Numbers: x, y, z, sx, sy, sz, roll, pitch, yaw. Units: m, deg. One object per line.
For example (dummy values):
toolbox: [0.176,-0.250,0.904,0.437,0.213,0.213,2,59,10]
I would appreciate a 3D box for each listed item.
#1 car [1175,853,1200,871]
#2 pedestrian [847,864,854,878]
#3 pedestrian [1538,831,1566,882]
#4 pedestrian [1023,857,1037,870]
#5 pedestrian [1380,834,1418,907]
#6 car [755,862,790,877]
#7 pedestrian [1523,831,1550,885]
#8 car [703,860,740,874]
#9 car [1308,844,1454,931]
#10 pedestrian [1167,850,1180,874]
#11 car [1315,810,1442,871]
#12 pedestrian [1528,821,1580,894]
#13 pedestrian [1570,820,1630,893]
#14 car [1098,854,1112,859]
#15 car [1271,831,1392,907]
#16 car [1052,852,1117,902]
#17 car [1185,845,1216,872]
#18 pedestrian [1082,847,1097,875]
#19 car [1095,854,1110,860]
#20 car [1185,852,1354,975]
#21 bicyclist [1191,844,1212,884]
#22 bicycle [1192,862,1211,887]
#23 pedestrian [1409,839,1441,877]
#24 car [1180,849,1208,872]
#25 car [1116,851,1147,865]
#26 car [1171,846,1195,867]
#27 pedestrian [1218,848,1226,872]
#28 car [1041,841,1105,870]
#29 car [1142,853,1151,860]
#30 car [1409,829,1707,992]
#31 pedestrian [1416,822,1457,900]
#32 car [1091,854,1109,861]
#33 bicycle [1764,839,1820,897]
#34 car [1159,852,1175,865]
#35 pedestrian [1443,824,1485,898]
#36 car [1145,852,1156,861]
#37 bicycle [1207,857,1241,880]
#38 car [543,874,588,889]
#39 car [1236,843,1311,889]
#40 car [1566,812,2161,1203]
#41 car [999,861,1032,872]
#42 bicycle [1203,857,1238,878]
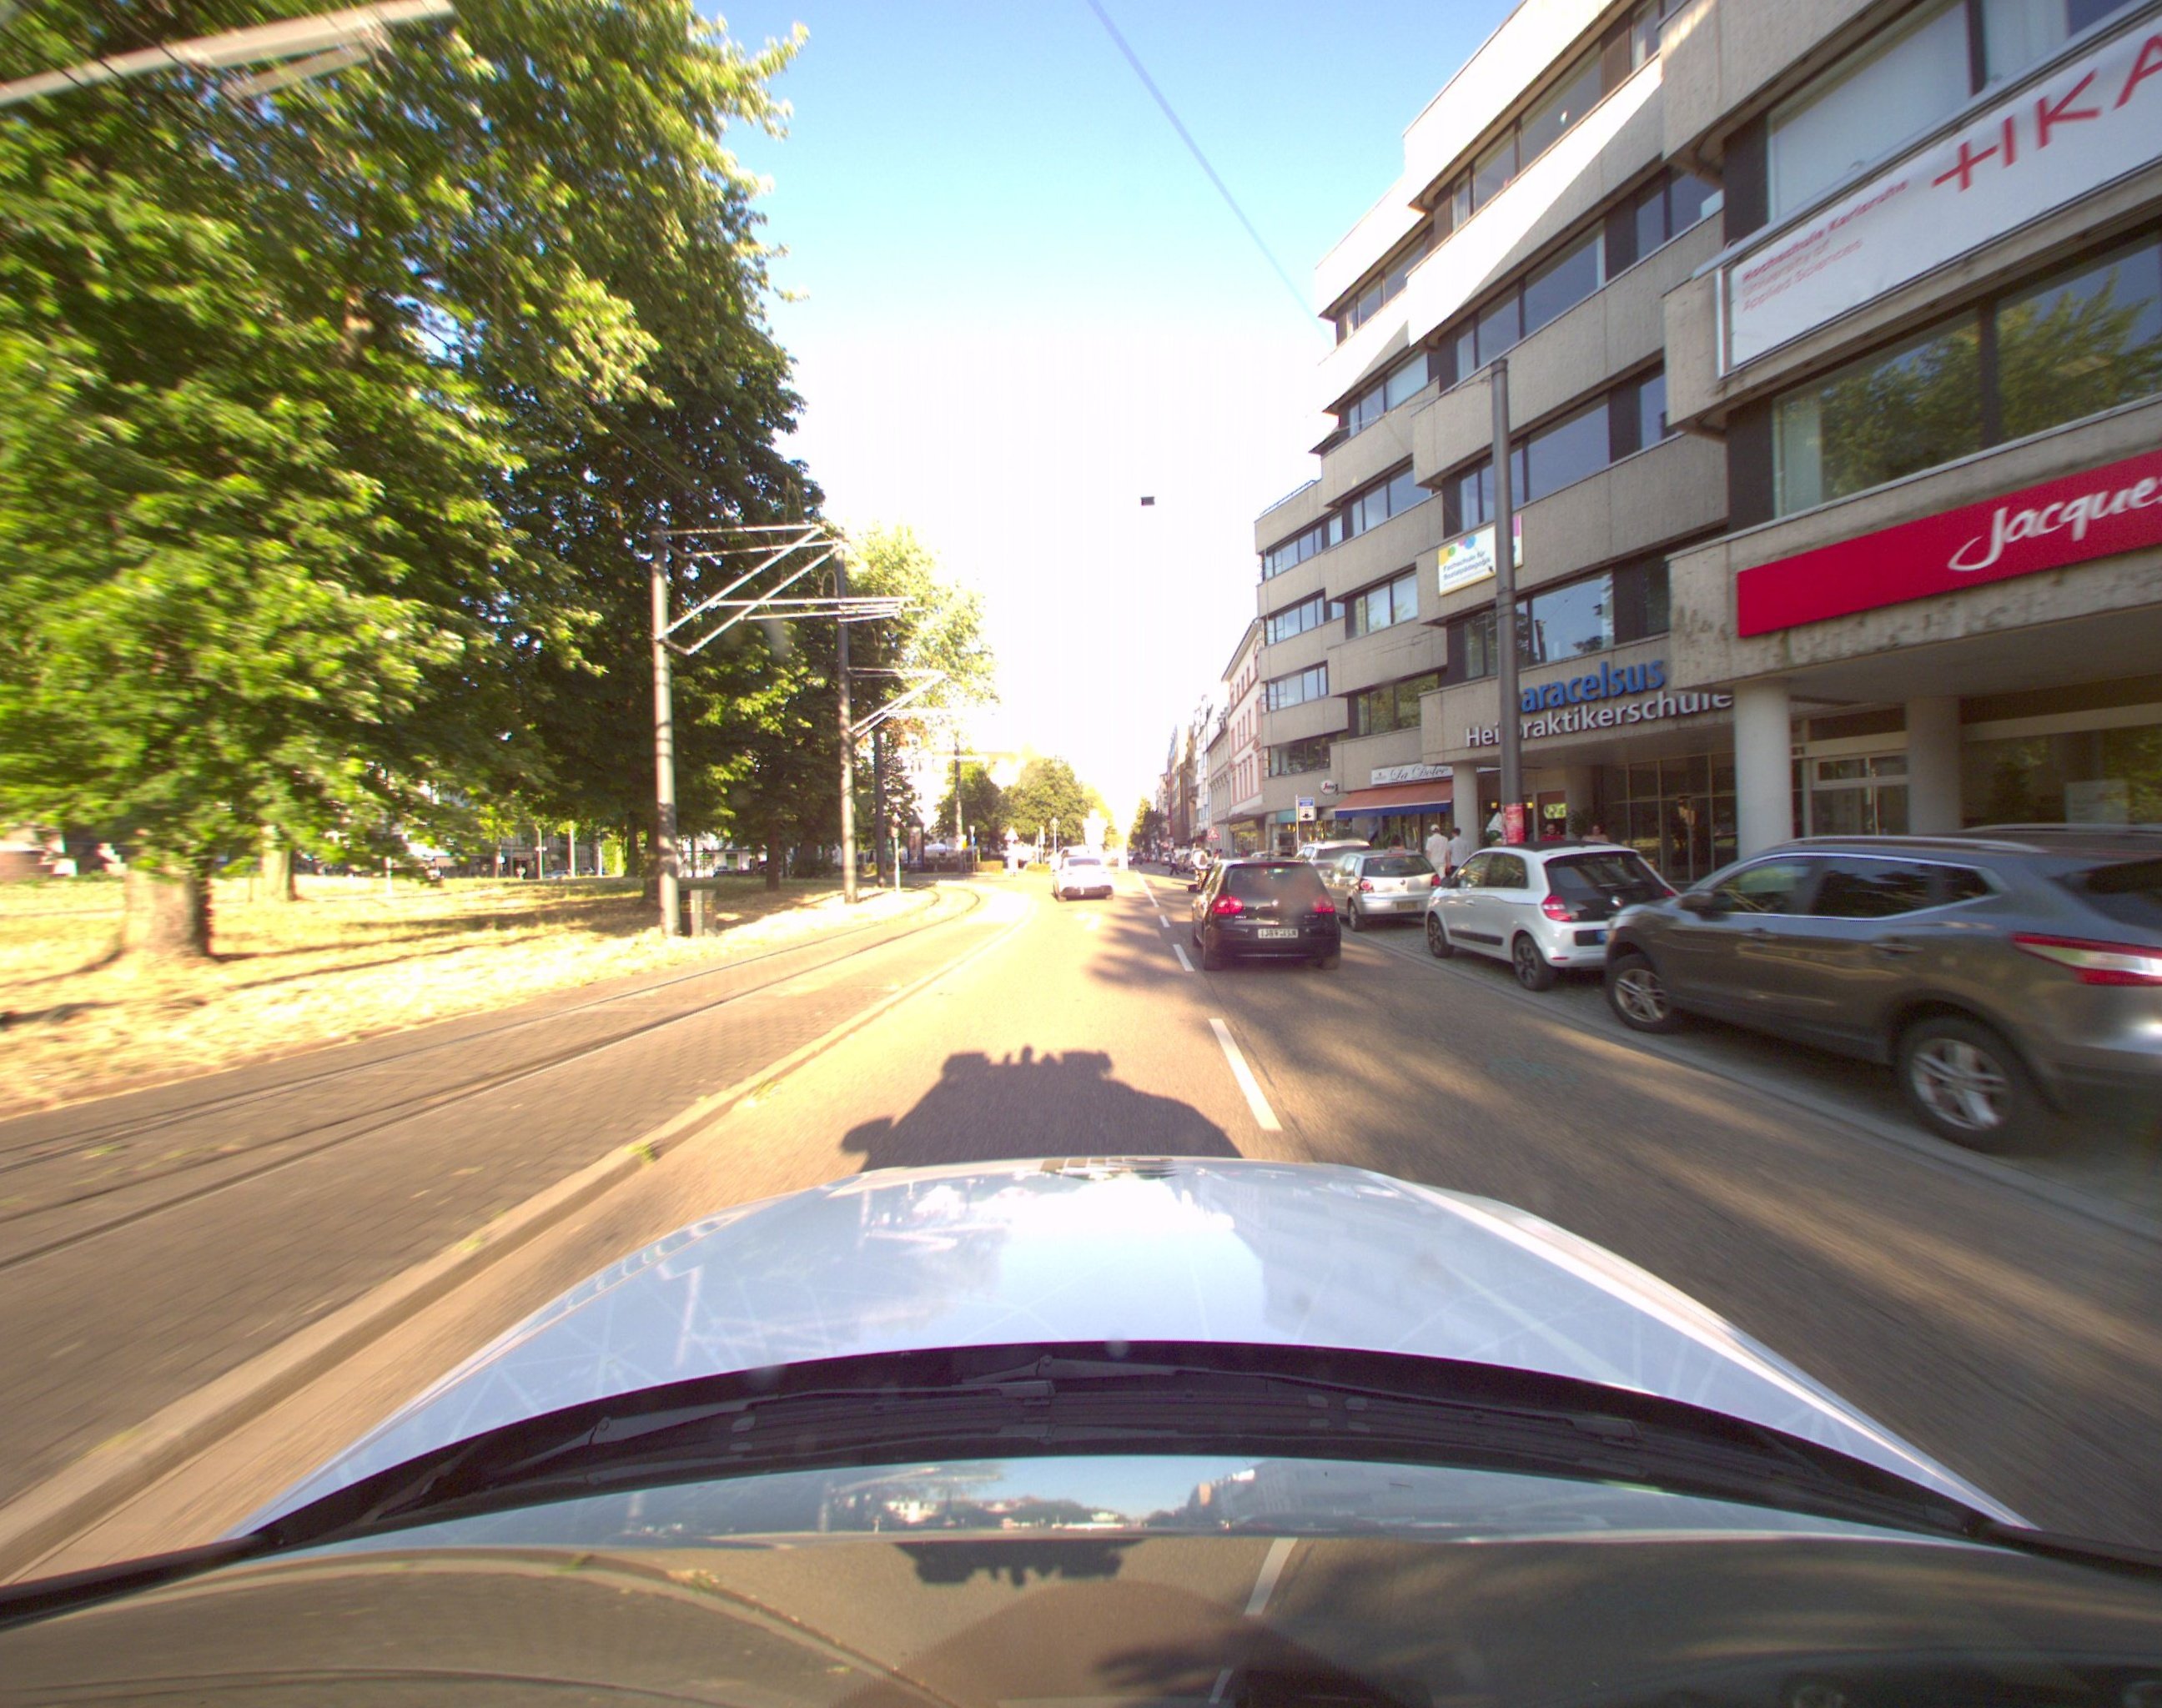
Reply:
car: [9.033,0.668,69.278,1.727,1.462,3.588,-3,0,3]
pedestrian: [-24.748,1.783,87.377,0.533,1.497,0.659,-1,0,-4]
pedestrian: [15.417,0.062,26.663,0.599,1.649,0.518,0,0,-21]
pedestrian: [-4.786,0.890,76.650,1.102,1.226,0.853,0,0,-23]
pedestrian: [7.903,0.396,20.263,0.576,1.760,0.662,-4,0,4]
car: [-35.552,1.787,93.912,3.625,1.552,1.651,-1,0,-20]
pedestrian: [15.210,0.129,27.179,0.599,1.759,0.518,0,0,-21]
car: [-40.577,1.473,92.043,3.625,1.552,1.651,-1,0,-20]
car: [5.848,0.582,16.345,1.655,1.441,3.859,-4,0,4]
pedestrian: [6.171,0.529,54.172,0.730,1.555,0.635,-1,0,17]
car: [13.455,-0.603,36.826,5.340,2.442,2.076,-3,0,-23]
pedestrian: [11.627,0.071,20.010,1.037,1.727,0.692,-3,0,-36]
pedestrian: [12.333,0.066,19.349,0.644,1.673,0.981,-2,0,-36]
car: [6.030,0.603,204.855,3.381,1.287,1.665,-1,0,-13]
car: [6.554,0.356,21.854,1.861,1.713,4.506,-4,0,1]
car: [0.047,0.745,27.639,1.861,1.441,4.192,-4,0,-3]
car: [8.466,0.322,58.074,1.727,1.800,3.919,-3,0,3]
pedestrian: [0.532,0.445,52.123,0.858,1.706,0.940,-1,0,-4]
car: [5.289,0.704,197.062,3.381,1.287,1.665,-1,0,-13]
car: [2.538,0.716,11.890,1.740,1.461,4.107,-1,0,4]
bicyclist: [4.981,0.418,33.683,0.774,1.618,1.026,0,0,2]
bicycle: [4.976,0.844,33.724,0.576,0.987,1.937,0,0,3]
pedestrian: [12.212,0.143,28.897,0.770,1.281,0.656,-3,0,-26]
car: [8.700,0.478,63.170,1.727,1.617,3.919,-3,0,3]
car: [6.910,0.536,111.505,1.975,1.772,4.024,-1,1,44]
car: [9.478,0.233,75.871,1.917,1.841,4.022,-3,0,4]
pedestrian: [9.727,0.411,56.154,0.500,1.625,0.497,-1,0,3]
car: [-0.723,0.125,76.027,5.536,2.594,2.138,-1,0,-24]
car: [14.668,0.513,182.178,1.745,1.510,3.547,-3,0,2]
car: [5.599,0.568,10.133,1.601,1.556,3.612,-4,0,2]
pedestrian: [8.738,0.166,20.020,0.619,1.858,0.662,-4,0,4]
car: [3.912,0.736,165.955,3.381,1.287,1.665,-1,0,-13]
bicycle: [14.596,0.271,16.710,1.767,1.072,0.478,-4,1,-37]
car: [10.771,0.603,102.012,1.745,1.510,3.547,-3,0,2]
pedestrian: [9.402,0.163,20.024,0.619,1.740,0.662,-4,0,4]
car: [12.801,0.506,149.455,1.745,1.510,3.547,-3,0,2]
bicycle: [7.449,0.756,42.455,1.586,1.119,0.616,-3,1,36]
car: [-56.455,3.019,89.248,3.975,1.463,1.574,-1,0,-42]
car: [6.917,0.410,29.659,1.657,1.441,3.821,-4,0,-1]
car: [5.331,0.593,5.452,1.774,1.556,4.238,-4,0,3]
car: [-8.516,1.562,105.939,4.001,1.301,1.840,-1,0,-20]
bicycle: [7.936,0.778,46.475,1.828,1.045,0.584,-4,1,33]
